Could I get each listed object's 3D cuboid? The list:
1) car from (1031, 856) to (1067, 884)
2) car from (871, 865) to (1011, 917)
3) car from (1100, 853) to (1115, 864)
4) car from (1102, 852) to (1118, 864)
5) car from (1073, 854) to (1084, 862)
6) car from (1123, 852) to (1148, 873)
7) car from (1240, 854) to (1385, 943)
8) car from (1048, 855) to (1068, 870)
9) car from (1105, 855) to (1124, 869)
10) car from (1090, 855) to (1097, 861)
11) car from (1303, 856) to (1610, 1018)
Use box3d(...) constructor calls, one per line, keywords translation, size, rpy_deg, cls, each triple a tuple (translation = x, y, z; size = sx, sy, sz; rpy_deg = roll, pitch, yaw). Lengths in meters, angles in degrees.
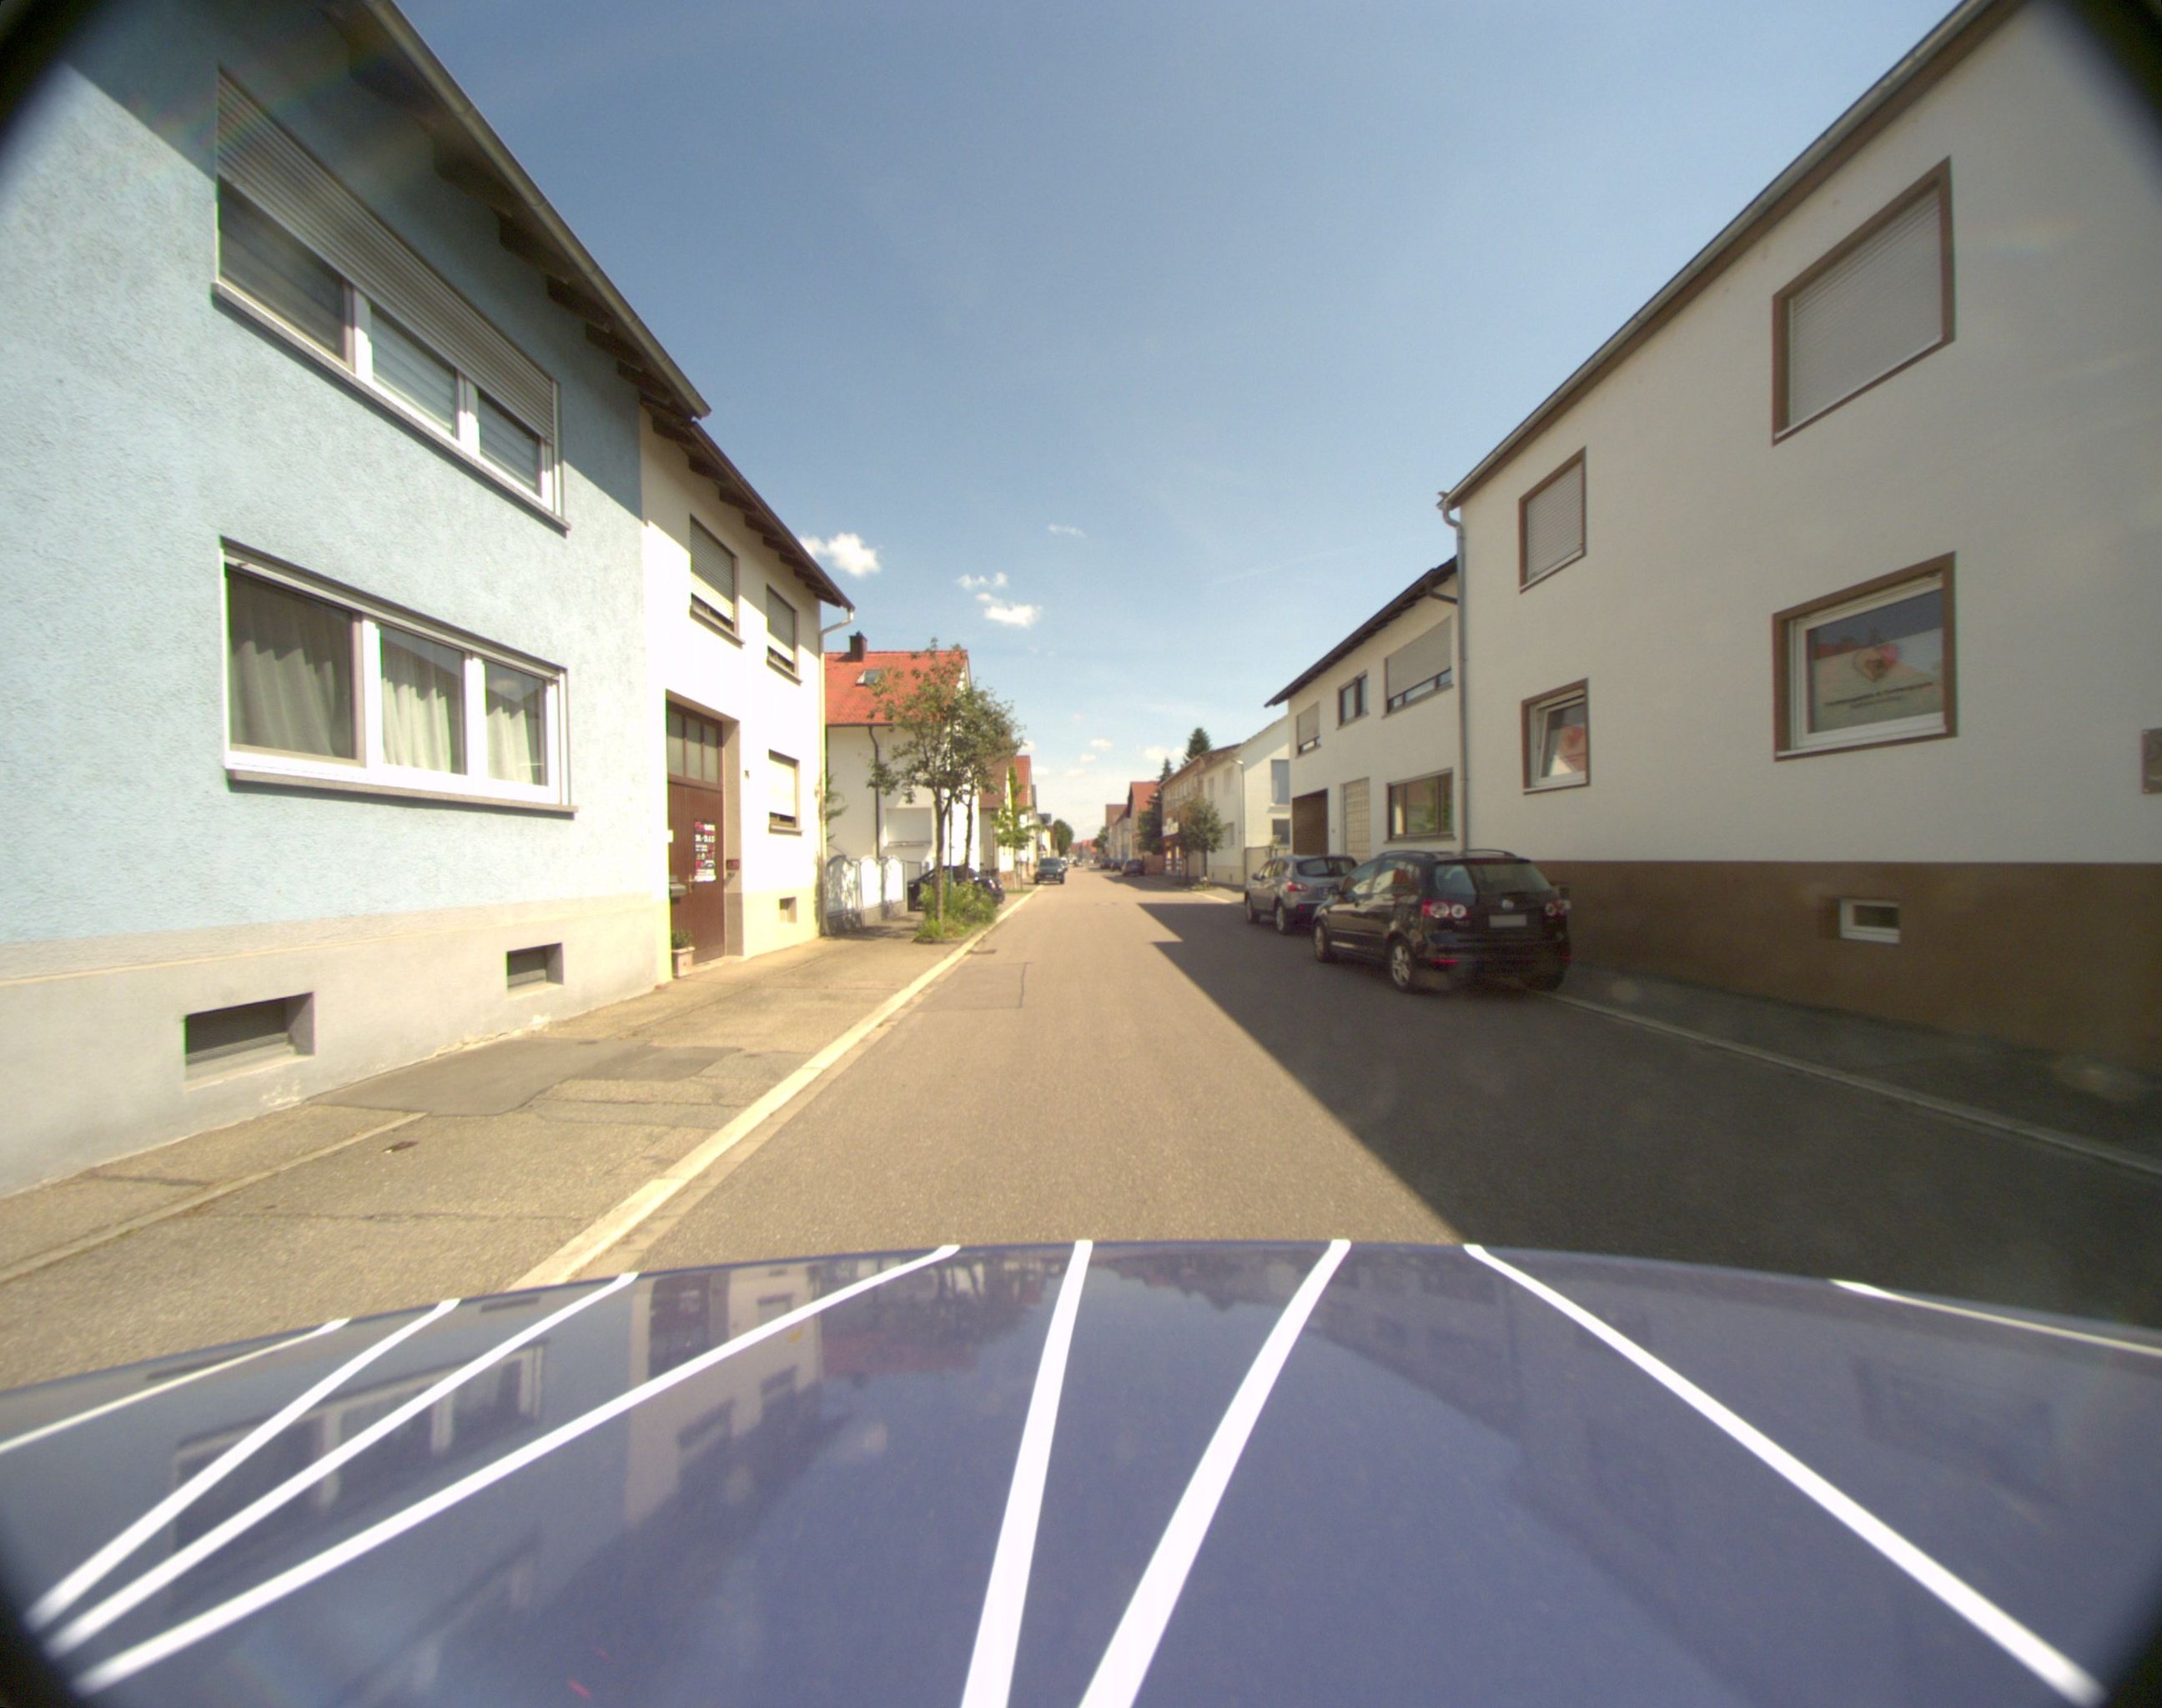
box3d(translation=(-1.968, 0.977, 47.783), size=(1.998, 1.696, 4.000), rpy_deg=(-1, 0, 1), cls="car")
box3d(translation=(-4.154, 1.097, 22.949), size=(3.814, 1.420, 1.728), rpy_deg=(-1, 0, 4), cls="car")
box3d(translation=(3.900, 0.606, 110.538), size=(1.999, 1.570, 4.000), rpy_deg=(-1, 0, 0), cls="car")
box3d(translation=(3.966, 0.541, 104.478), size=(1.999, 1.570, 3.999), rpy_deg=(-1, 0, -2), cls="car")
box3d(translation=(-0.485, 0.788, 142.467), size=(1.958, 1.521, 4.000), rpy_deg=(-1, 0, 0), cls="car")
box3d(translation=(4.646, 0.725, 65.533), size=(1.852, 1.688, 4.000), rpy_deg=(-1, 0, 0), cls="car")
box3d(translation=(4.716, 0.825, 16.099), size=(1.758, 1.608, 4.120), rpy_deg=(-1, 0, 0), cls="car")
box3d(translation=(-2.366, 0.903, 80.114), size=(1.958, 1.521, 4.000), rpy_deg=(-1, 0, 0), cls="car")
box3d(translation=(3.797, 0.894, 86.682), size=(1.855, 1.543, 3.999), rpy_deg=(-1, 0, -2), cls="car")
box3d(translation=(3.598, 1.115, 212.223), size=(1.904, 1.682, 4.000), rpy_deg=(-2, 0, 1), cls="car")
box3d(translation=(4.276, 0.813, 9.445), size=(1.752, 1.557, 3.954), rpy_deg=(-1, 0, -2), cls="car")
